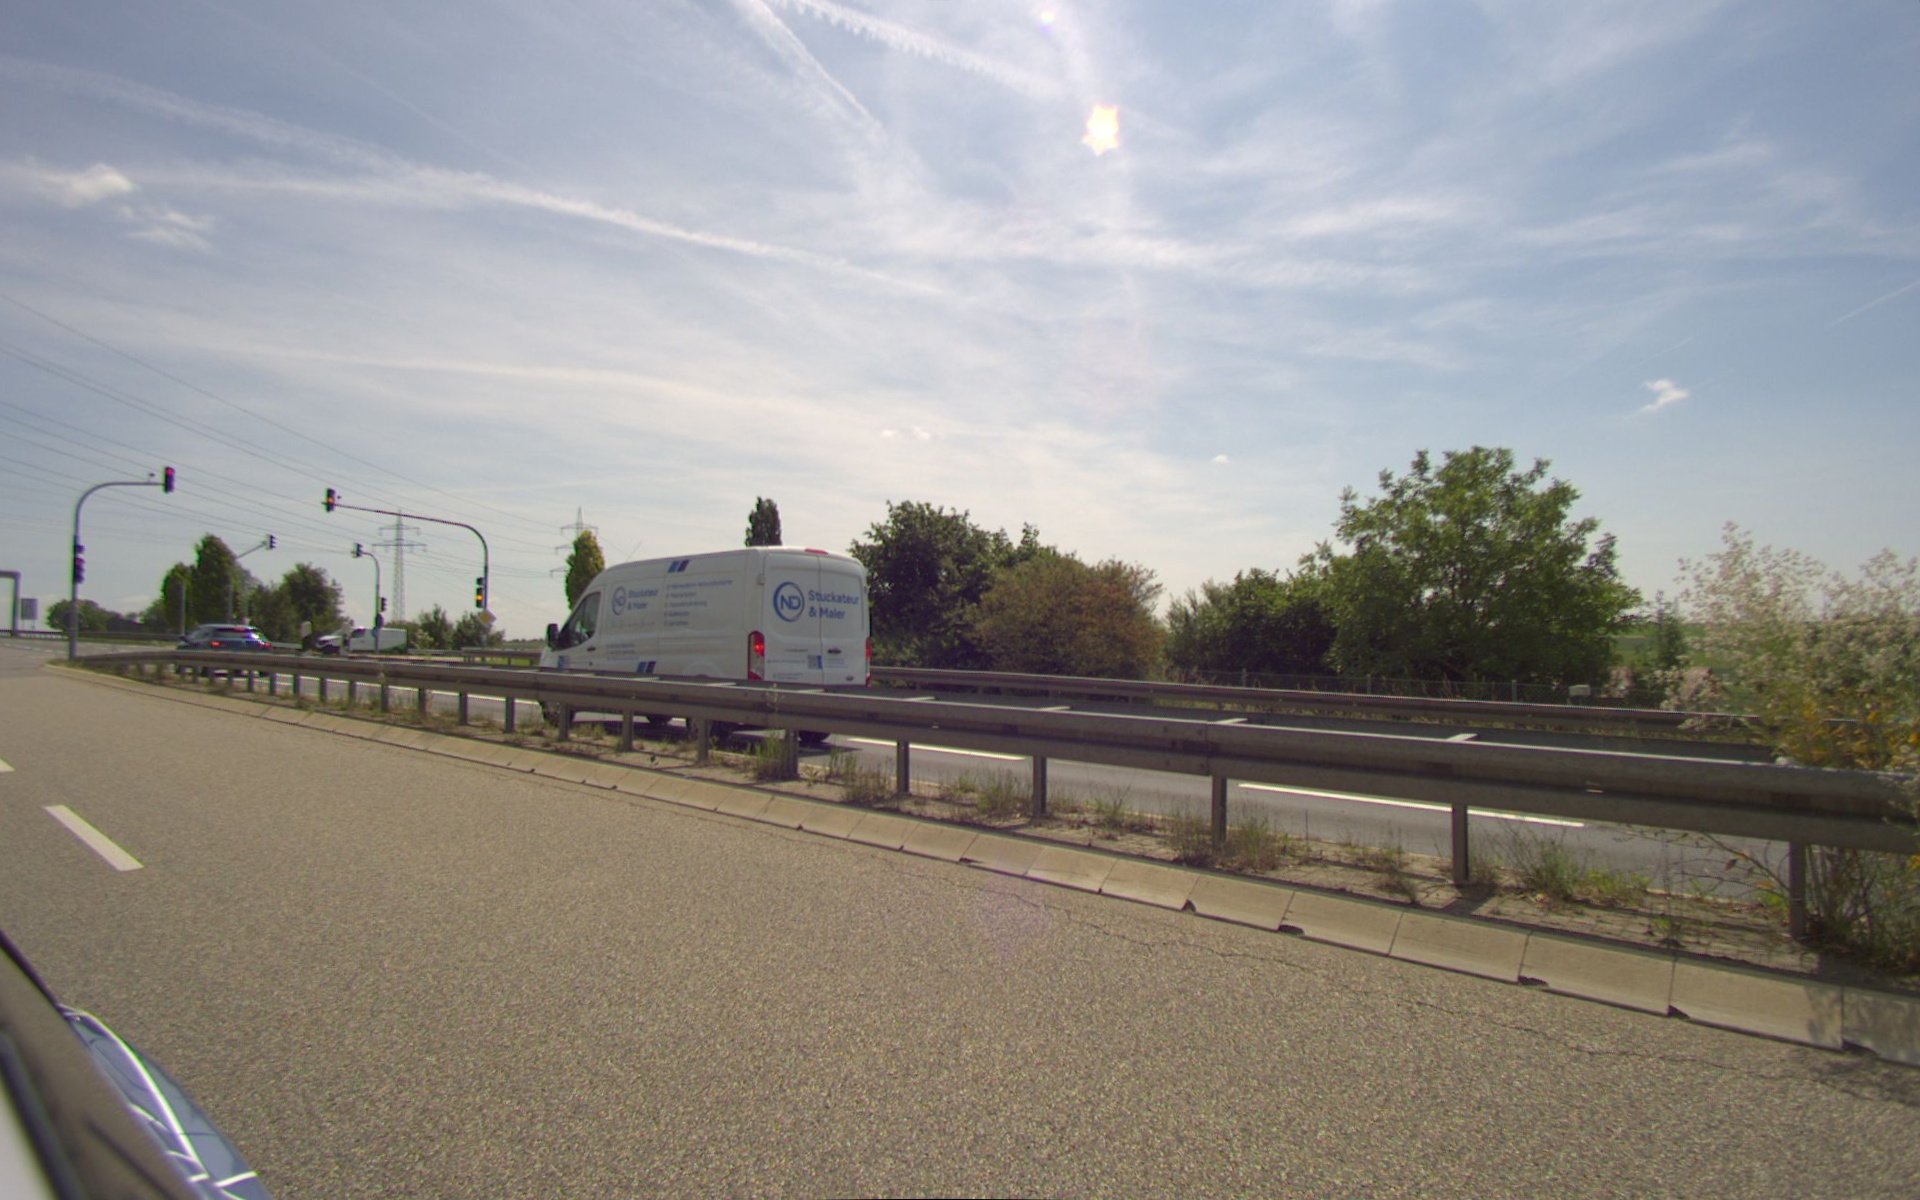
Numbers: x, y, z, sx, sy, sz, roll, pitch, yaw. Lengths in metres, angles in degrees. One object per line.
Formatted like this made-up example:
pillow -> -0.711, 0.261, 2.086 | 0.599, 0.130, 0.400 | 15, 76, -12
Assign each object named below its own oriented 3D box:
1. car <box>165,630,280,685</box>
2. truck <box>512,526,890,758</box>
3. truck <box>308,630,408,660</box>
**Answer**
car -> -21.741, 1.643, 29.781 | 4.192, 1.480, 1.738 | -1, -2, 39
truck -> -3.862, 0.596, 14.254 | 6.017, 2.641, 2.019 | -2, -5, 41
truck -> -39.303, 2.971, 66.238 | 1.992, 1.770, 5.227 | 0, -4, 30
